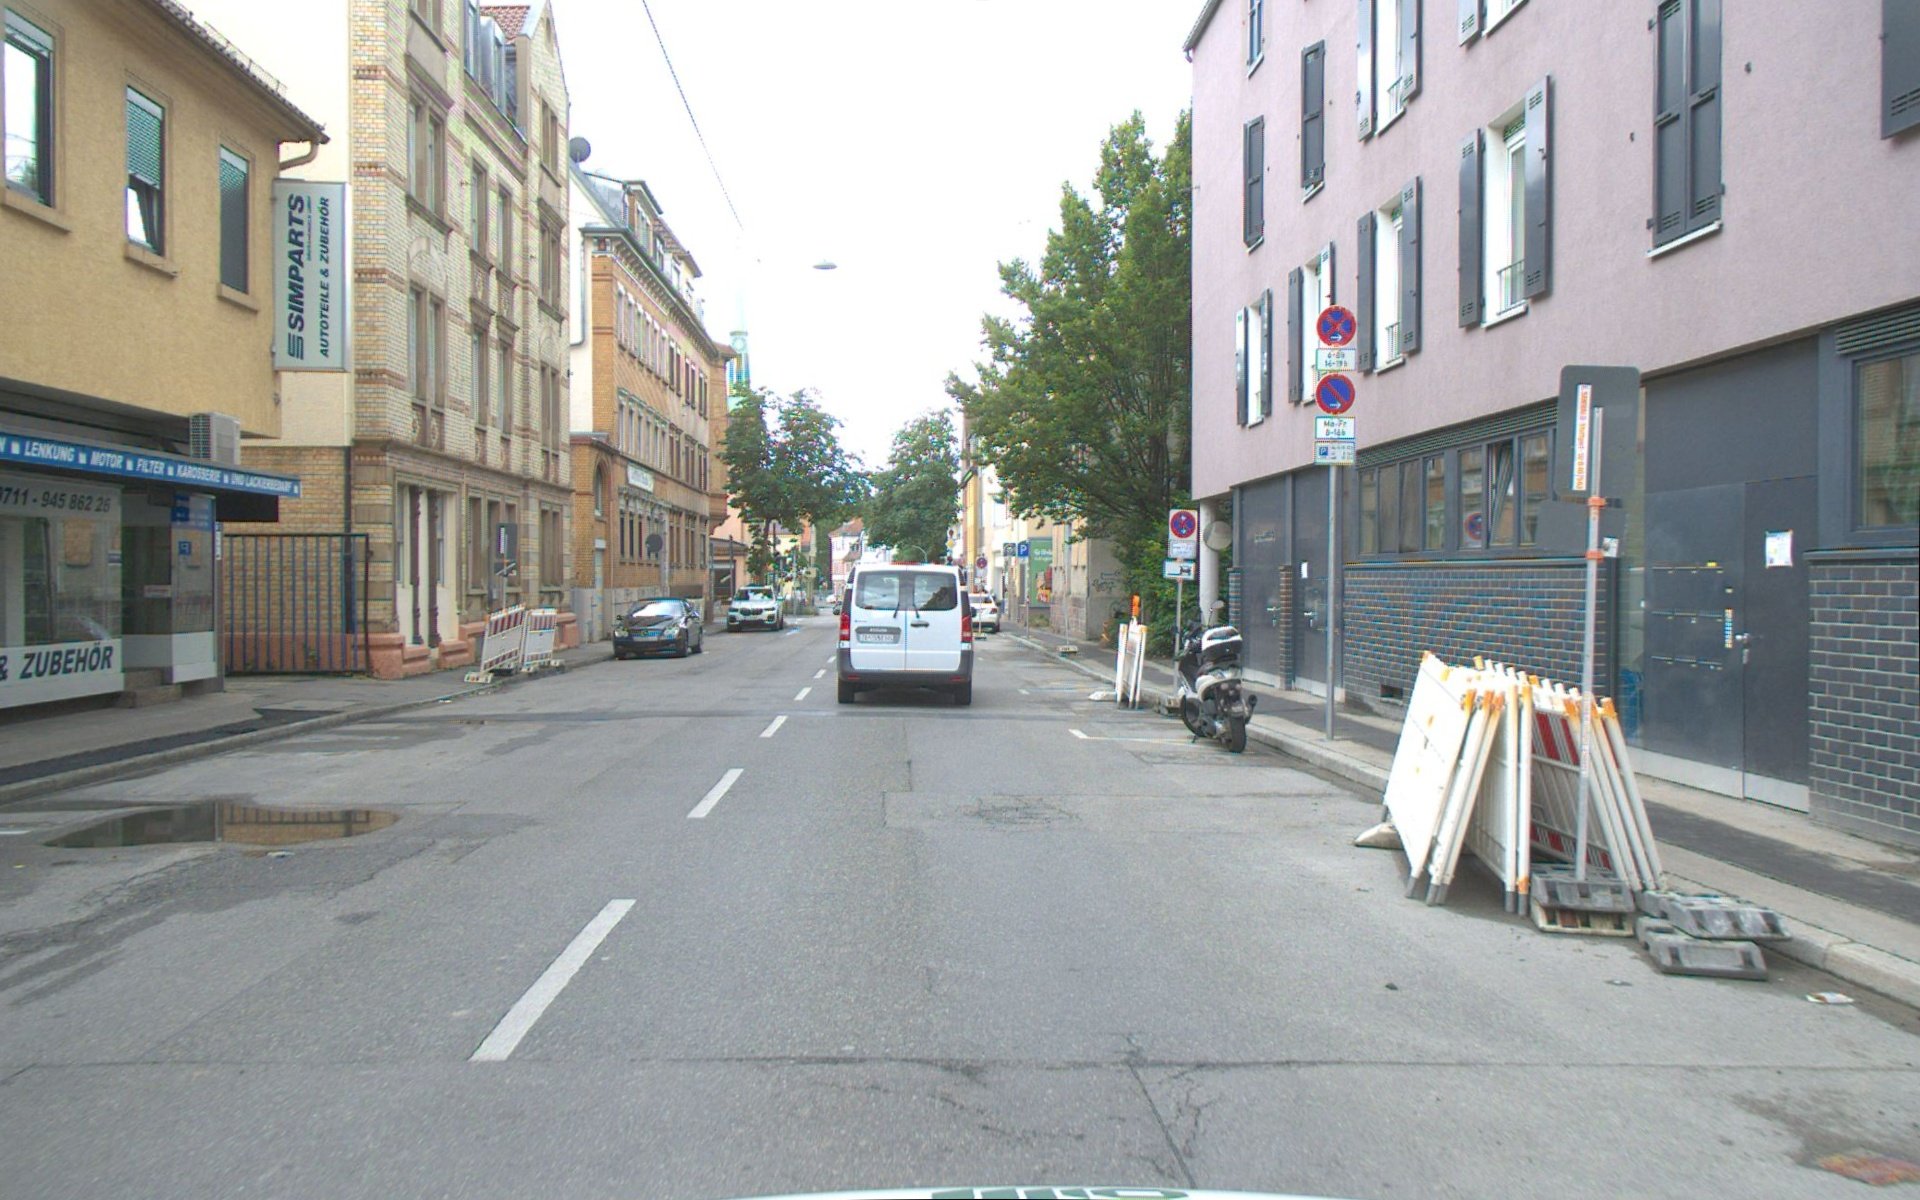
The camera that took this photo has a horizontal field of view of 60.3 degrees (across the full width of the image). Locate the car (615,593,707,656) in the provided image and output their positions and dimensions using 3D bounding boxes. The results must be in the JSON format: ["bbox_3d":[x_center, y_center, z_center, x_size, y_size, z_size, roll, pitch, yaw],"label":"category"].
[{"bbox_3d":[-7.239,0.560,40.367,1.547,1.407,4.353,-1,0,-2],"label":"car"}]

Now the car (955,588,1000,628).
[{"bbox_3d":[0.675,0.297,65.823,1.731,1.491,4.783,0,0,0],"label":"car"}]

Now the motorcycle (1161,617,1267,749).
[{"bbox_3d":[2.618,0.823,17.303,0.634,1.247,2.336,1,0,-3],"label":"motorcycle"}]

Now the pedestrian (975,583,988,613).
[{"bbox_3d":[1.192,-0.120,93.133,0.602,1.681,0.982,2,0,-5],"label":"pedestrian"}]

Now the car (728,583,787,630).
[{"bbox_3d":[-7.942,0.217,65.221,1.853,1.742,4.739,-2,1,-2],"label":"car"}]

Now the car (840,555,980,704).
[{"bbox_3d":[-0.758,0.372,23.674,1.835,1.945,3.998,0,0,-3],"label":"car"}]
